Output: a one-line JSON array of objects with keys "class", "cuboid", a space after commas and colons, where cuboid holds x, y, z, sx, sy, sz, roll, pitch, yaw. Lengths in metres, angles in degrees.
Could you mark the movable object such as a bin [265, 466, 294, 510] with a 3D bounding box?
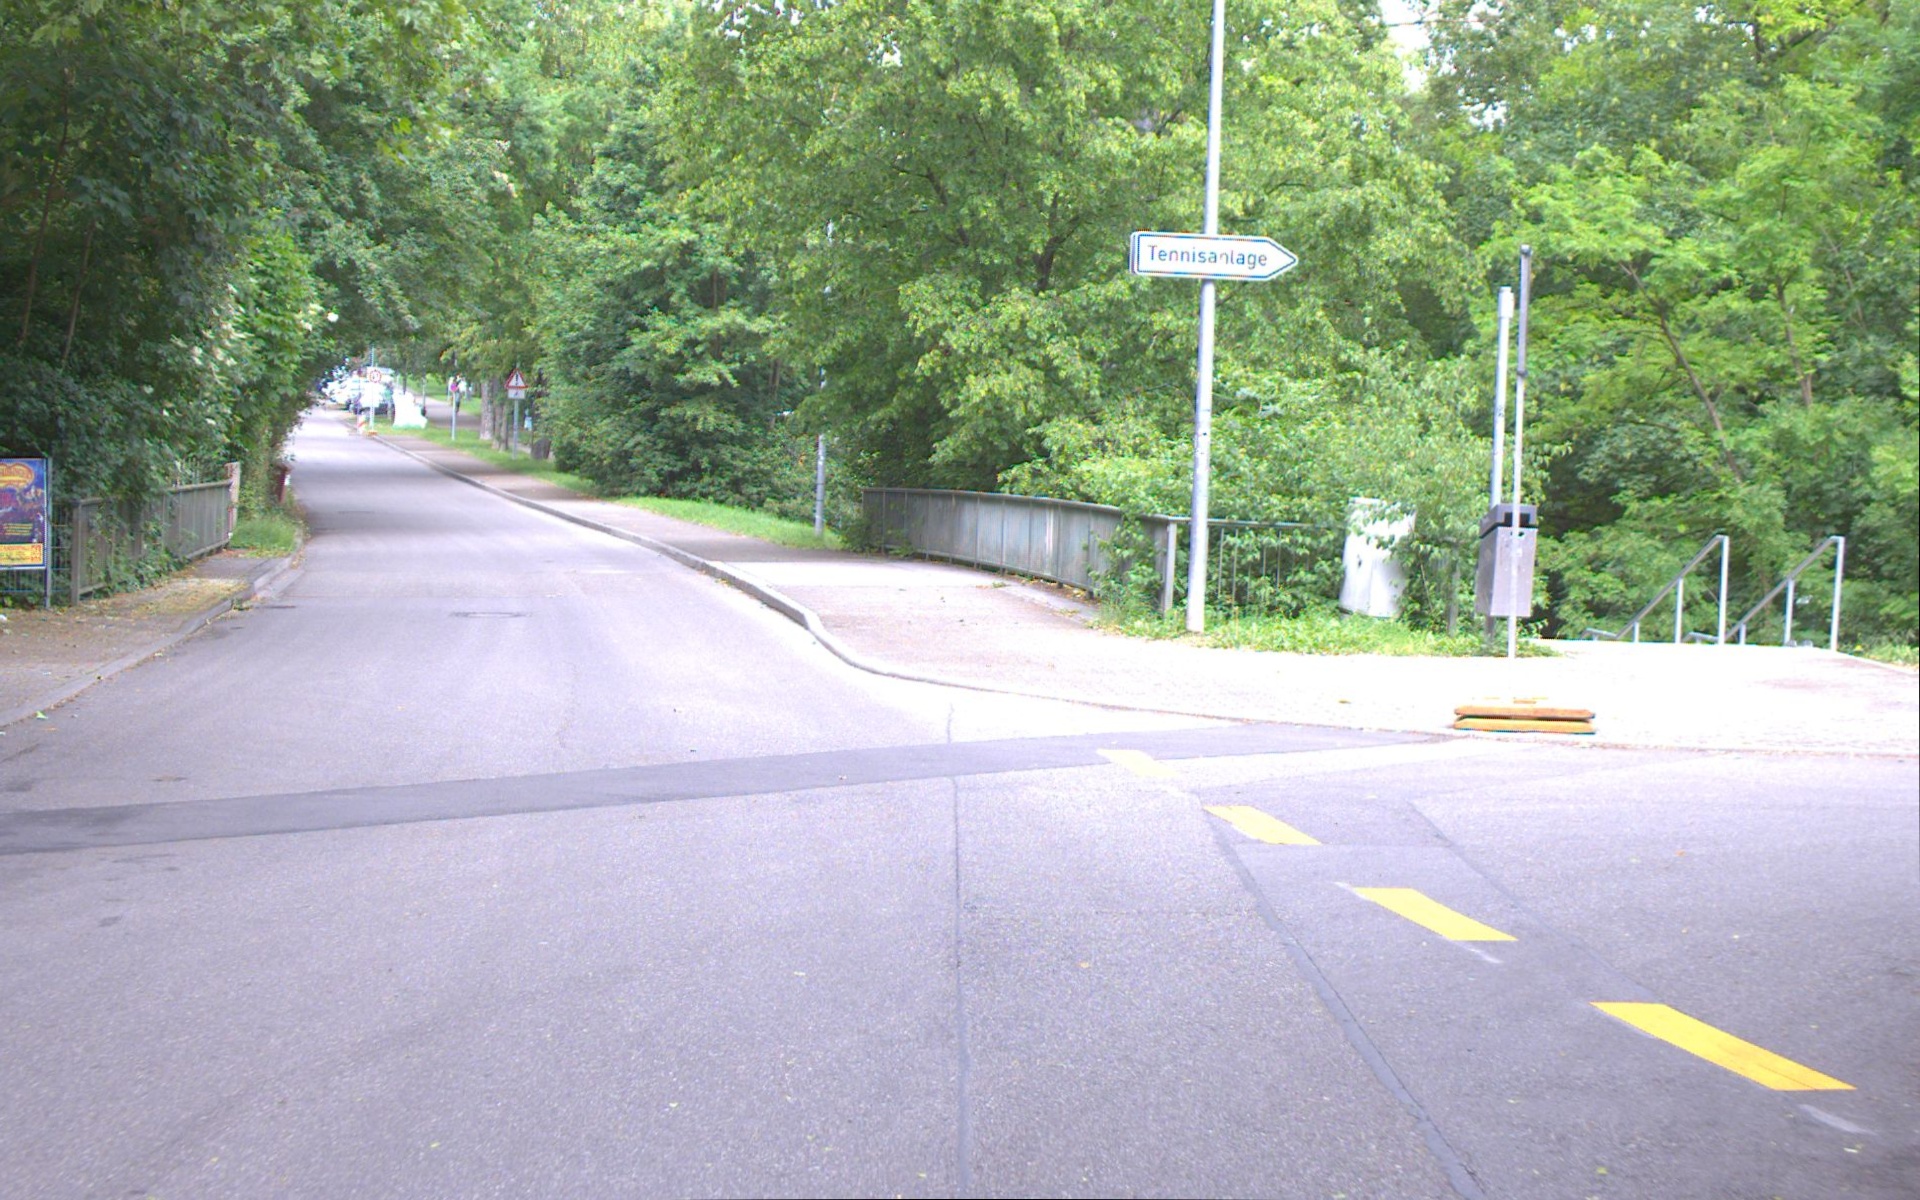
[{"class": "movable object such as a bin", "cuboid": [-14.958, -2.461, 75.542, 0.590, 0.954, 0.470, 1, 1, -11]}]
